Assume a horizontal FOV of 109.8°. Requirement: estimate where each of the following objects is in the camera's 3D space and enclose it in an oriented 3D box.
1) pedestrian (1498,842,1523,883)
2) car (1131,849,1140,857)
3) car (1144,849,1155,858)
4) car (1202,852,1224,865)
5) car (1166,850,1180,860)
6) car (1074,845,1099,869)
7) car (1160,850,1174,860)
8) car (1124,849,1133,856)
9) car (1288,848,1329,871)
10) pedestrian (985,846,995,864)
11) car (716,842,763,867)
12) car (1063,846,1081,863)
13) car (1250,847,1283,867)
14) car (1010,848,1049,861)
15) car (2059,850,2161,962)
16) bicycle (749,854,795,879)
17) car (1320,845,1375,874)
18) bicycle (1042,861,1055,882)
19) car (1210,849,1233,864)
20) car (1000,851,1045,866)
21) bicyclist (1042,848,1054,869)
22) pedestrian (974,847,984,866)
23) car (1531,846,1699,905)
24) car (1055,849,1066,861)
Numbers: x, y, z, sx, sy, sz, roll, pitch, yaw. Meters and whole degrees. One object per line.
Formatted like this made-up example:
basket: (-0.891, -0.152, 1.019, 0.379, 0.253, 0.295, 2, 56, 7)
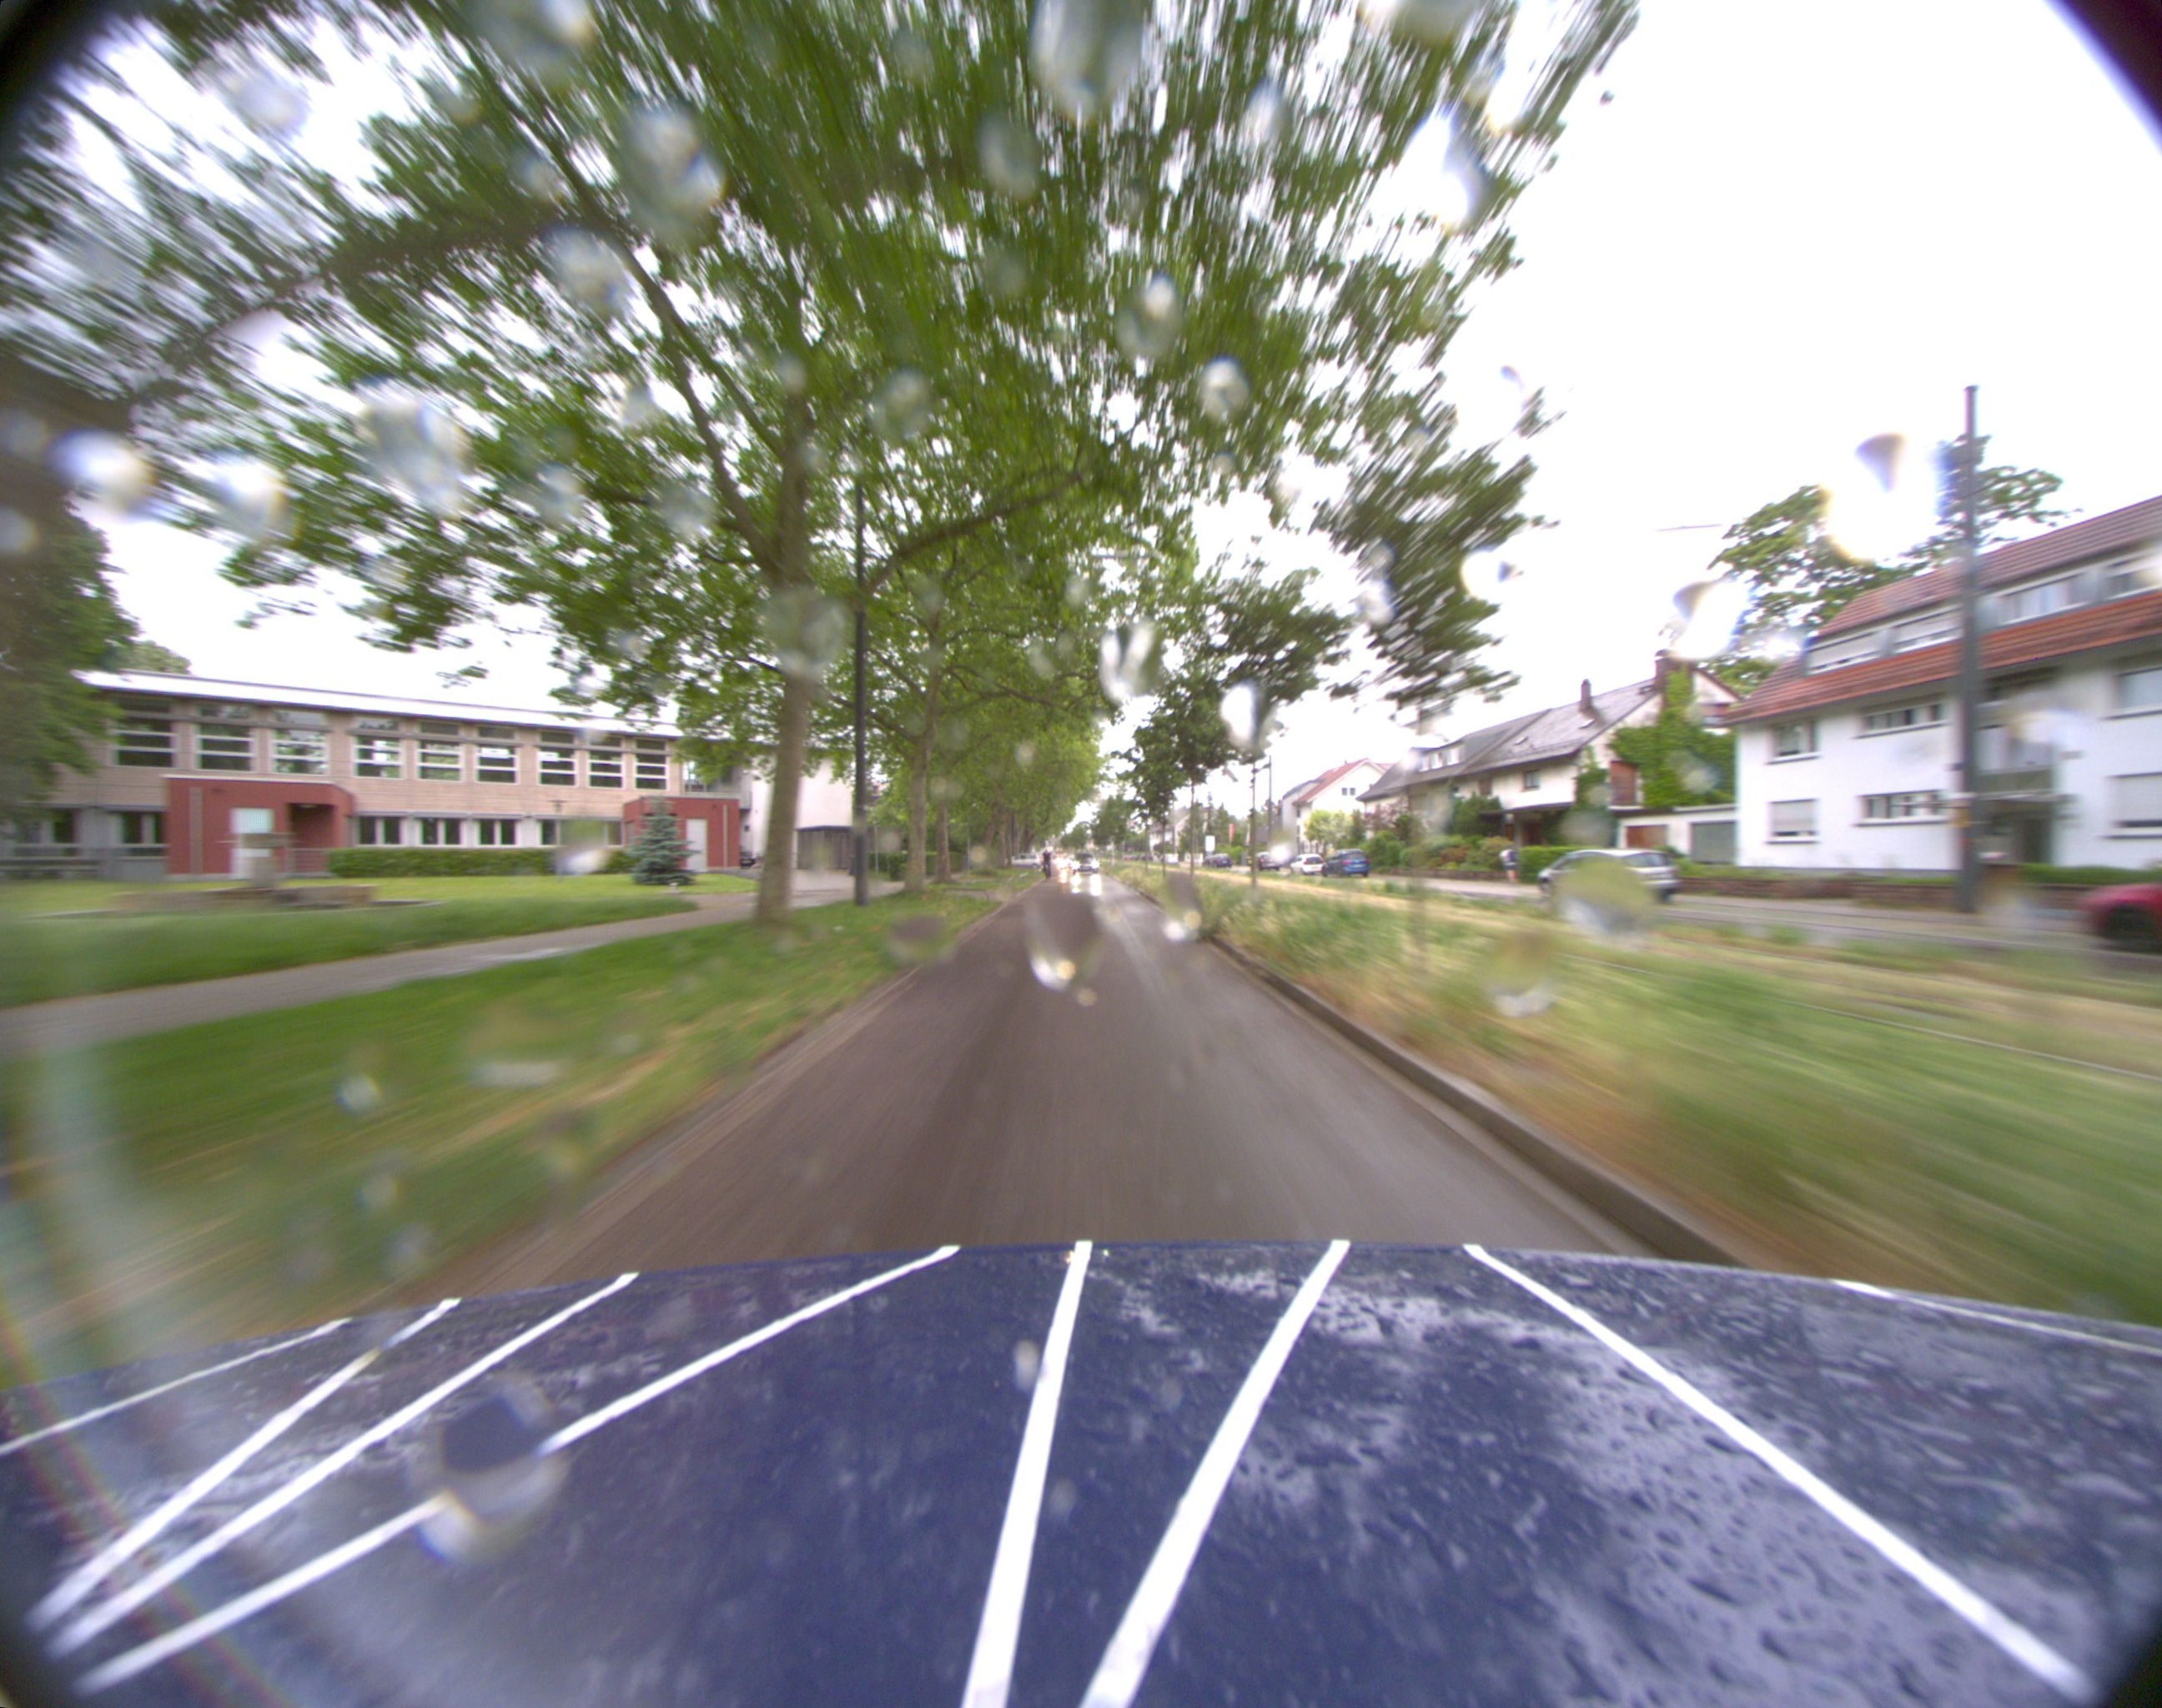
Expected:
pedestrian: (18.768, 0.353, 33.223, 0.599, 1.757, 0.869, -1, 1, 0)
car: (11.873, -0.255, 165.457, 1.759, 1.507, 3.854, -3, 0, 0)
car: (12.998, -0.086, 144.413, 1.759, 1.507, 3.854, -3, 0, 0)
car: (15.232, 0.482, 87.931, 1.893, 1.490, 4.000, 0, 0, 1)
car: (14.180, 0.170, 117.258, 1.759, 1.507, 3.854, -3, 0, 0)
car: (0.428, 0.245, 57.735, 1.767, 1.715, 3.934, -2, 0, 0)
car: (13.800, 0.185, 121.804, 1.759, 1.507, 3.854, -3, 0, 0)
car: (11.075, -0.270, 177.235, 1.759, 1.507, 3.854, -3, 0, 0)
car: (16.276, 0.369, 54.544, 1.718, 1.520, 3.600, -3, 1, -1)
pedestrian: (-7.599, 0.098, 63.326, 0.748, 1.529, 0.585, 0, 1, -4)
car: (-20.862, 0.001, 46.352, 1.752, 1.443, 3.572, -2, 2, -38)
car: (-0.943, 0.043, 79.302, 1.767, 1.715, 3.933, -1, 1, -1)
car: (16.054, 0.236, 65.994, 1.759, 1.604, 4.110, -3, 0, 0)
car: (-5.739, 0.055, 84.150, 4.020, 1.478, 1.636, 0, 1, -20)
car: (16.550, 0.755, 10.153, 1.846, 1.538, 3.973, -3, 0, 1)
bicycle: (-14.438, 0.576, 35.581, 0.519, 1.115, 1.942, 3, 2, 43)
car: (16.588, 0.314, 47.491, 1.849, 1.696, 4.181, -2, 1, -1)
bicycle: (-1.713, 0.884, 40.031, 0.659, 1.008, 2.256, 0, 1, -2)
car: (15.391, 0.252, 83.486, 1.759, 1.507, 3.854, -3, 0, 0)
car: (-5.631, 0.422, 72.705, 4.020, 1.478, 1.636, 0, 1, -20)
bicyclist: (-1.706, 0.234, 39.825, 0.622, 1.078, 0.624, 0, 2, -2)
pedestrian: (-8.247, 0.191, 61.545, 0.748, 1.529, 0.585, 0, 1, -1)
car: (16.389, 0.594, 23.686, 1.998, 1.604, 4.684, -2, 0, 1)
car: (-3.255, 0.150, 122.437, 1.767, 1.715, 3.933, 0, 1, -2)
